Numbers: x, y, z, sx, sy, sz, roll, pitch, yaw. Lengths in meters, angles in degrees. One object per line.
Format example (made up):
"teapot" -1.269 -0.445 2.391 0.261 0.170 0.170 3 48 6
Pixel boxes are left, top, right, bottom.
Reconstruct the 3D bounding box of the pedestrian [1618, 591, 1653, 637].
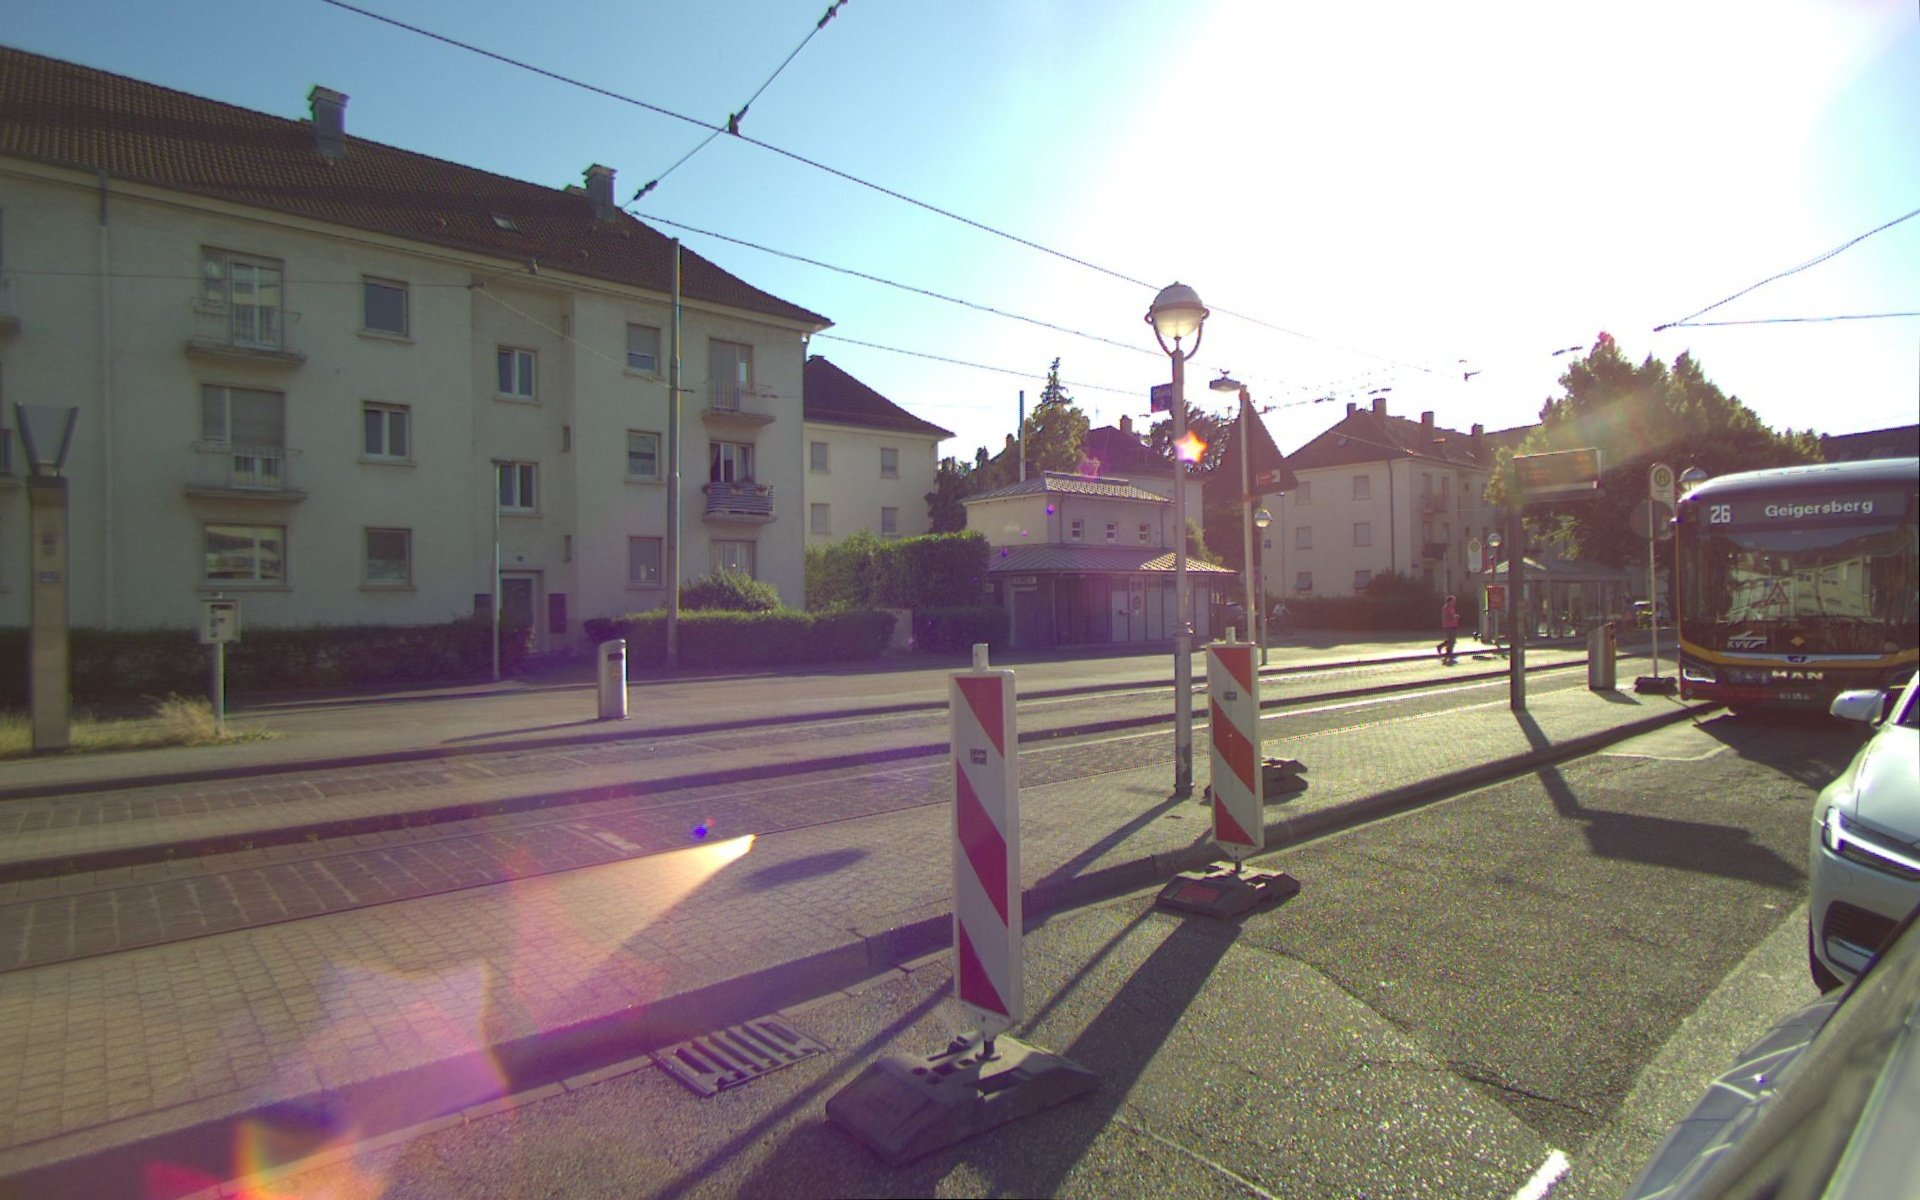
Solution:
"pedestrian" 24.132 0.495 36.168 0.813 1.631 0.839 0 0 14

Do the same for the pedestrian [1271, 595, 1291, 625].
"pedestrian" 15.067 0.453 47.515 0.569 1.398 0.659 0 0 -34

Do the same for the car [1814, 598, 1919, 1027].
"car" 5.274 0.731 4.361 4.143 1.472 1.819 0 0 -41

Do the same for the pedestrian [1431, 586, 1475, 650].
"pedestrian" 13.796 0.484 28.317 0.811 1.740 0.841 0 0 -41

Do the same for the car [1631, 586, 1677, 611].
"car" 53.782 -0.110 78.436 3.930 1.887 1.997 -1 0 -41

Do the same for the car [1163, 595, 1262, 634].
"car" 11.587 0.682 46.670 1.964 1.694 4.050 -1 -1 -39

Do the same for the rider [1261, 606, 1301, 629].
"rider" 15.071 0.810 47.525 0.569 1.004 1.858 0 0 -33

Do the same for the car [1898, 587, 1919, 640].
"car" 28.786 0.369 29.232 4.740 1.477 1.968 0 0 -41

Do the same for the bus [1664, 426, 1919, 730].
"bus" 14.318 -0.264 15.848 11.824 3.345 2.745 0 0 -42

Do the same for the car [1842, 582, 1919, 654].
"car" 21.227 0.359 22.366 4.740 1.477 1.968 0 0 -41
